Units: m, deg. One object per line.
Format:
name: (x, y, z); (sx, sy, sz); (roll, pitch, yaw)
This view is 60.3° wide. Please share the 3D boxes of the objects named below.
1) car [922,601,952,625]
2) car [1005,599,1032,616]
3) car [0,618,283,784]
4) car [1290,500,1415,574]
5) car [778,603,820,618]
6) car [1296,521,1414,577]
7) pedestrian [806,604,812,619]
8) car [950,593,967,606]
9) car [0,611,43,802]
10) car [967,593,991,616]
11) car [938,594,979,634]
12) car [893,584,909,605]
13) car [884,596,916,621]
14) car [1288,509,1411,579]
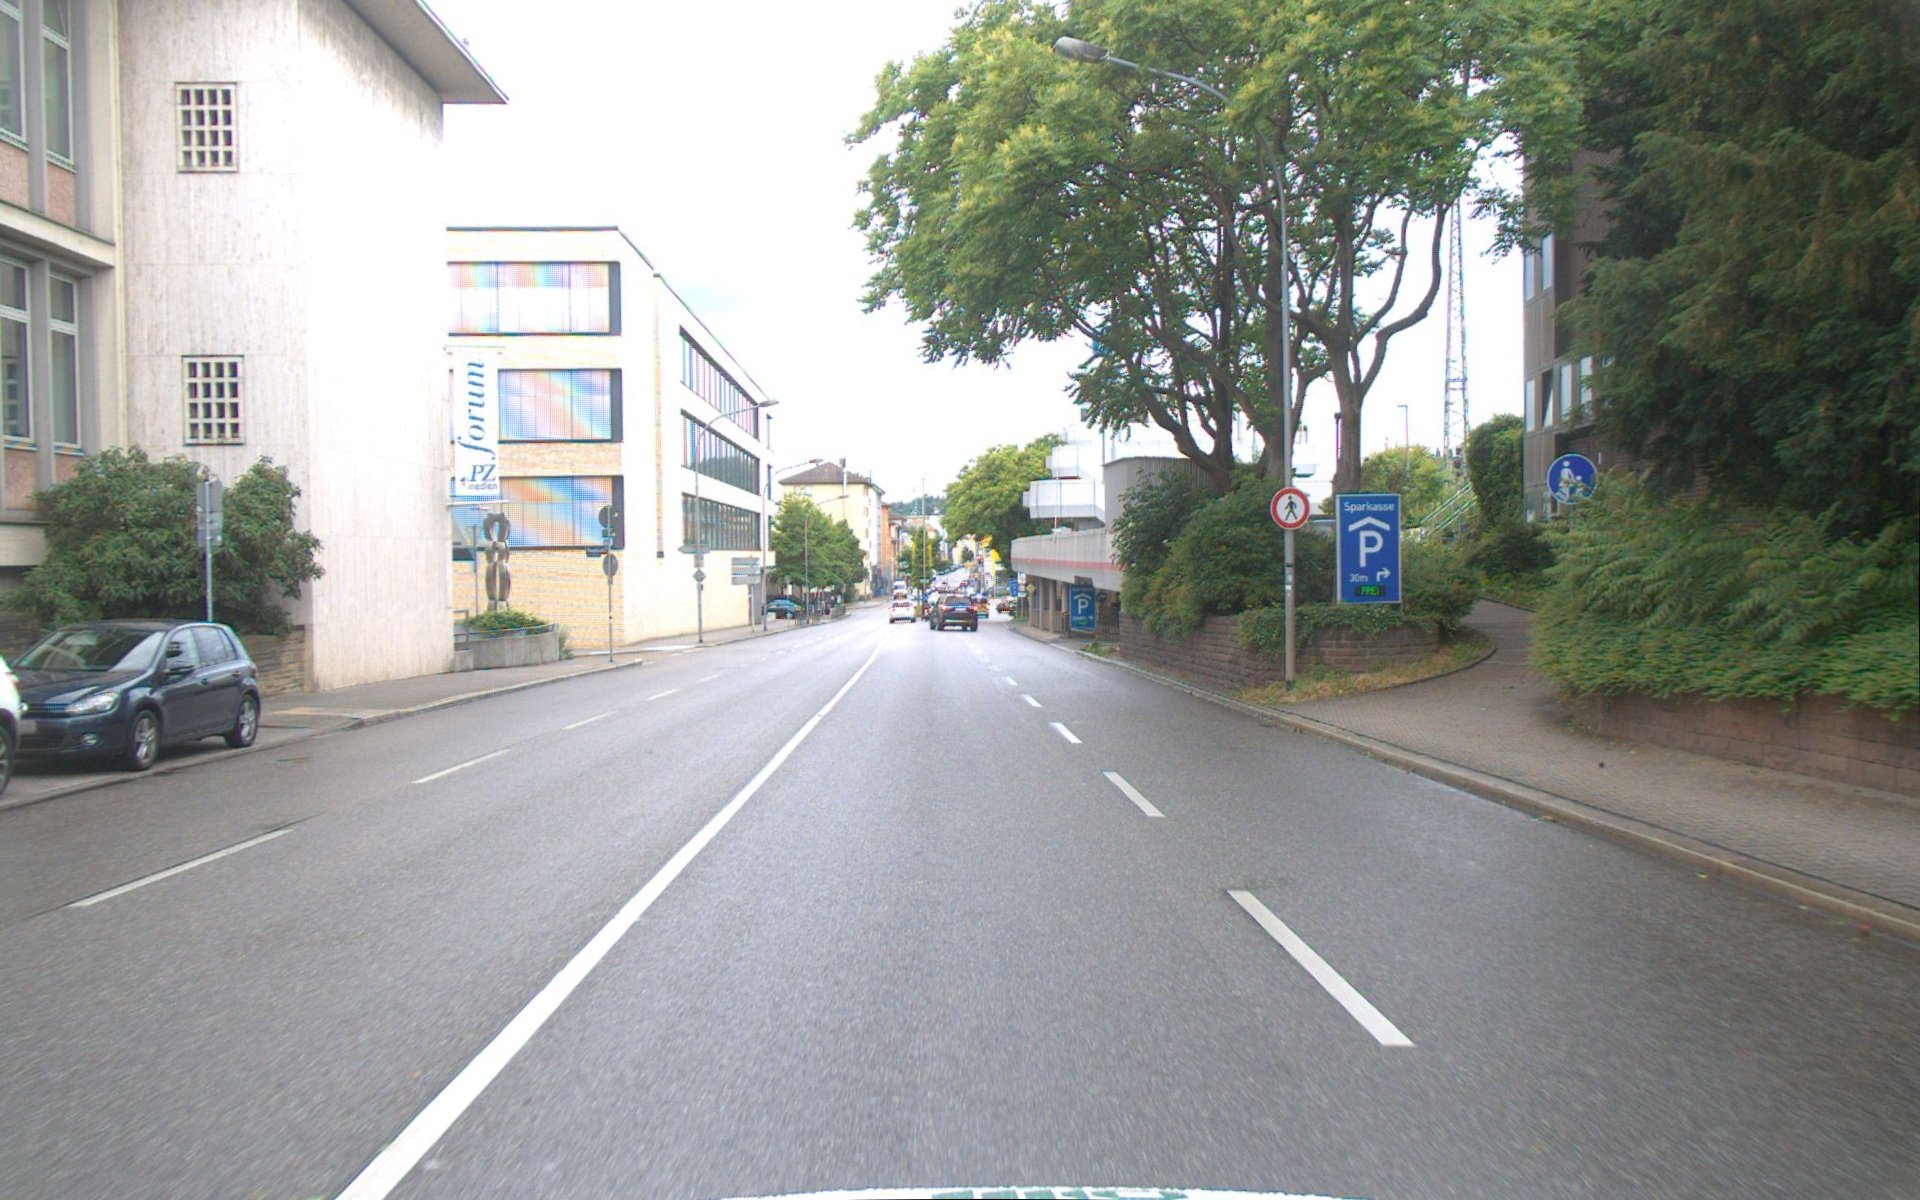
car: (-1.724, 0.981, 122.731); (1.955, 1.709, 3.995); (0, 0, -6)
car: (5.851, 0.745, 164.895); (1.951, 1.709, 4.003); (-1, 0, 12)
car: (-9.010, 0.997, 17.952); (1.713, 1.505, 4.179); (1, 0, -2)
car: (11.425, -1.818, 48.281); (3.376, 2.049, 1.655); (0, 0, 7)
car: (-13.918, 0.942, 142.794); (3.585, 1.256, 1.439); (0, 0, -7)
car: (12.720, -1.619, 53.417); (3.545, 1.736, 1.642); (0, 0, 7)
pedestrian: (-12.803, 0.973, 140.277); (0.444, 1.301, 0.454); (-1, 0, 10)
car: (-0.218, -0.031, 229.220); (1.954, 1.709, 3.997); (-1, 1, -4)
car: (-9.036, 0.904, 12.690); (1.712, 1.625, 4.180); (1, 0, -1)
car: (1.744, 0.430, 151.654); (2.128, 2.039, 4.000); (-1, 0, 0)
car: (-0.076, 0.687, 83.686); (2.049, 1.944, 4.099); (0, 0, 0)
car: (-8.982, -0.895, 251.788); (2.140, 3.152, 4.926); (-1, 0, -5)
car: (-4.195, 0.571, 114.611); (1.955, 1.709, 3.995); (0, 0, -6)
car: (11.971, -1.703, 50.999); (3.508, 2.049, 1.597); (0, 0, 7)
